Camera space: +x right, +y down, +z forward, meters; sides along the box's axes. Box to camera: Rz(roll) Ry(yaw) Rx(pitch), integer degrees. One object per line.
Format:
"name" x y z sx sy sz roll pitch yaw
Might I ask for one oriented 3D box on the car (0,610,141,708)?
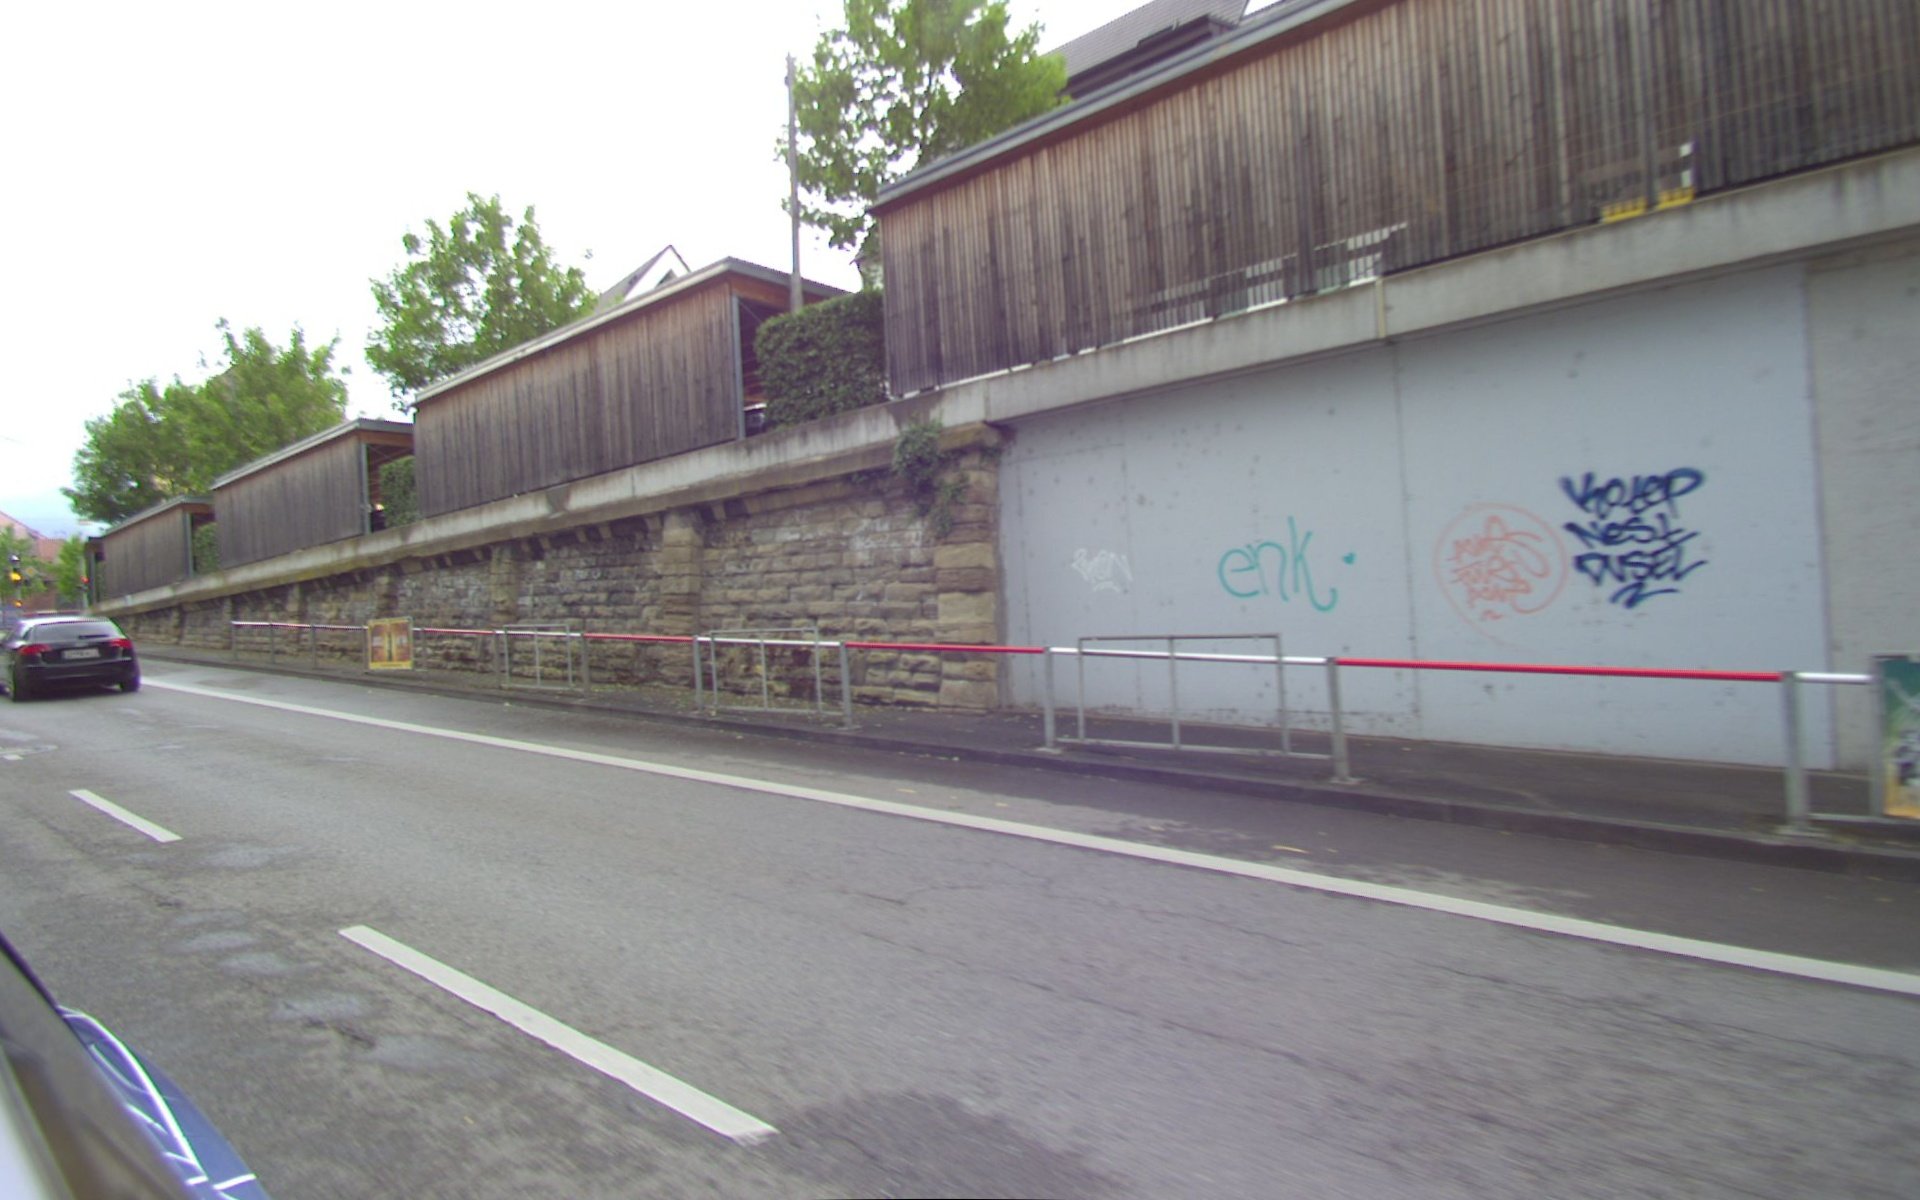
"car" -16.685 1.001 18.634 3.996 1.544 1.717 -1 1 40
